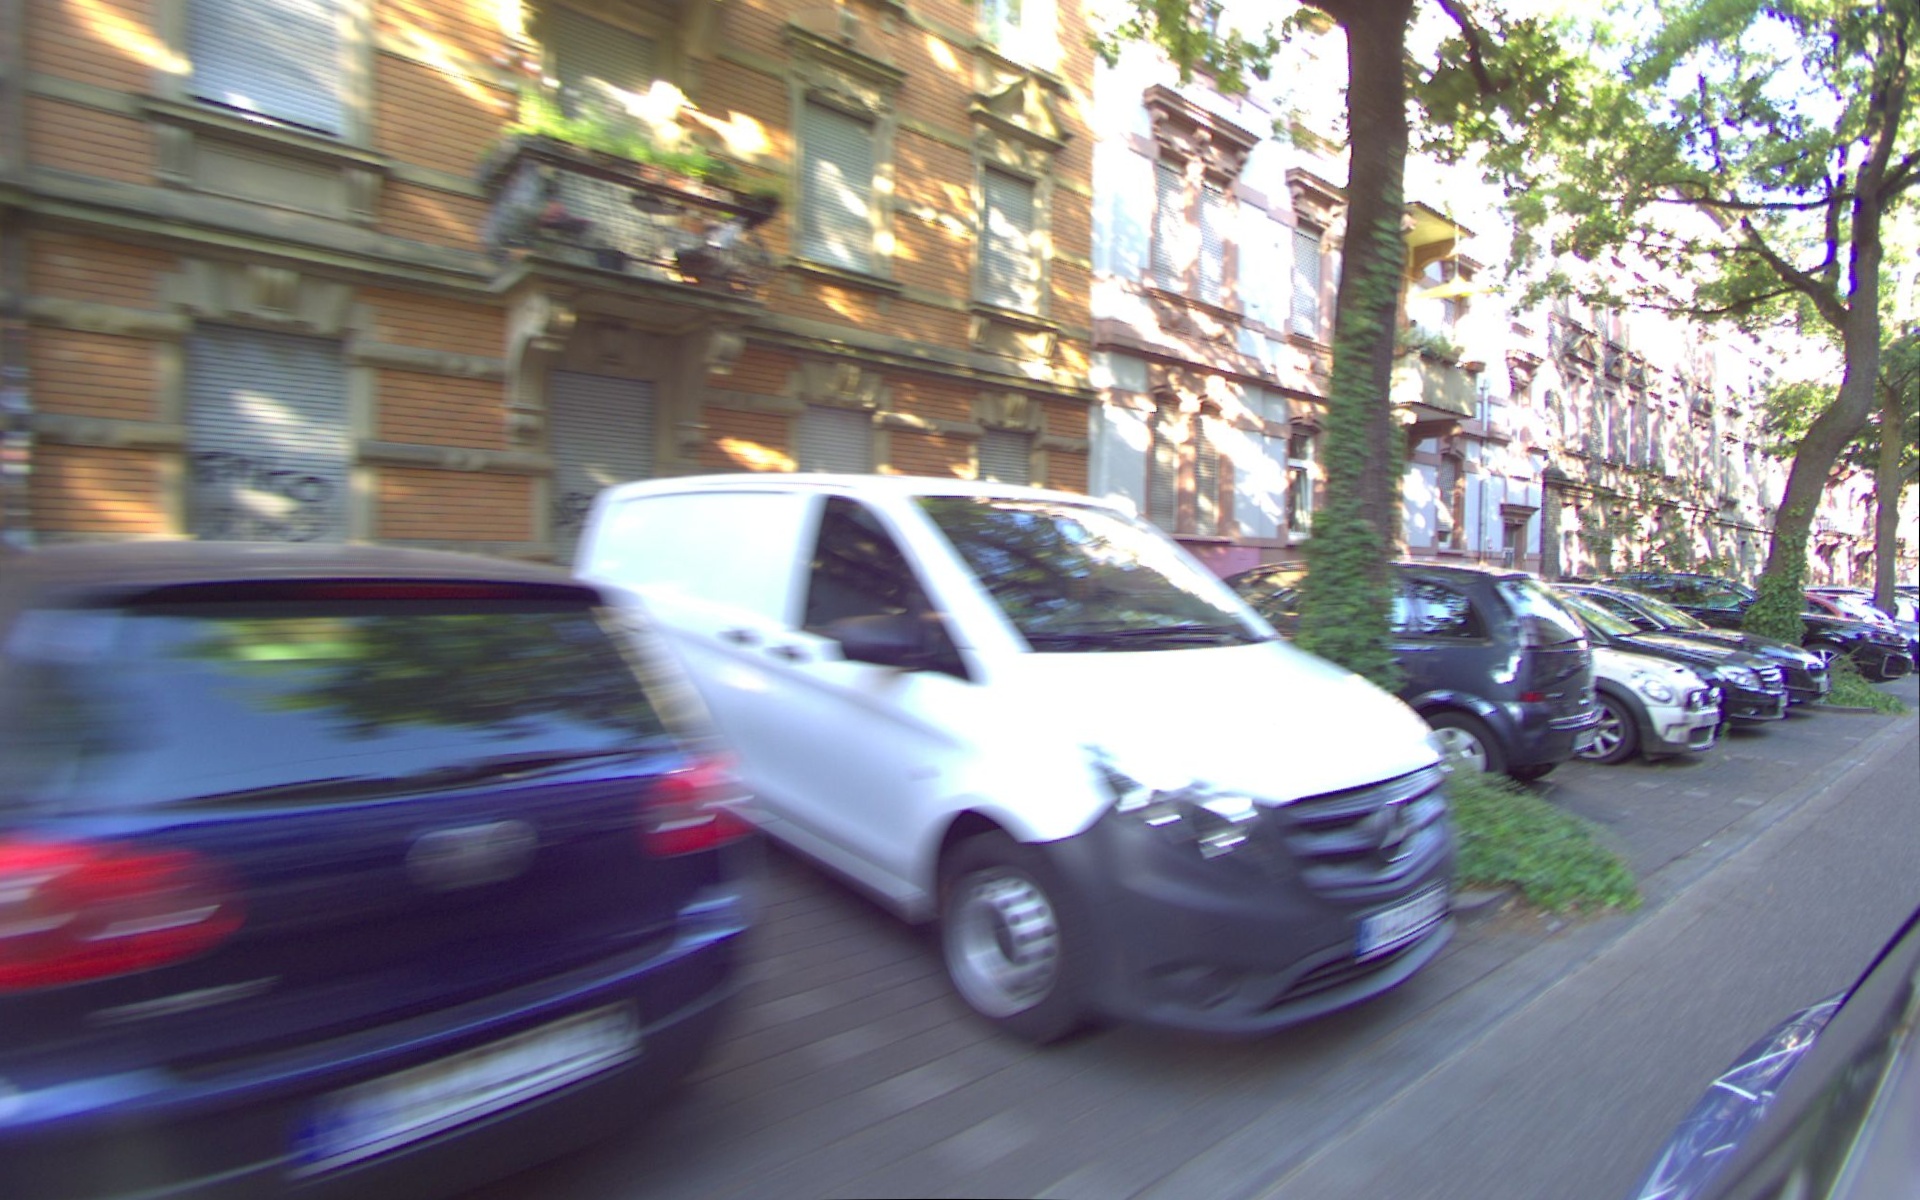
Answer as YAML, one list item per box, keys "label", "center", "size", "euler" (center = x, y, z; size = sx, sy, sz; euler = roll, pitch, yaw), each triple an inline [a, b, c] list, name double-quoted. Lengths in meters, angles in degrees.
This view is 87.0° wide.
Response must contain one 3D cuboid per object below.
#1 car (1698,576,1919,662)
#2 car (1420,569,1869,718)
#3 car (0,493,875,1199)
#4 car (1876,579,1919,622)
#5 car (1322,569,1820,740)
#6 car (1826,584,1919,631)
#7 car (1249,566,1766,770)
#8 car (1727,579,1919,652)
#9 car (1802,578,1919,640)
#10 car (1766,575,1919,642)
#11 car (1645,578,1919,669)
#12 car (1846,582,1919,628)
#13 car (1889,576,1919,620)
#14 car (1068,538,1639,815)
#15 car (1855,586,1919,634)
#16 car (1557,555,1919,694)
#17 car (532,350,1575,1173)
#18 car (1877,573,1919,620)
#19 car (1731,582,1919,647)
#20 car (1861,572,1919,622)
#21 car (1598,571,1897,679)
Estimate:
- label: "car"
  center: [18.167, 0.344, 21.256]
  size: [1.649, 1.404, 3.997]
  euler: [0, 5, -41]
- label: "car"
  center: [8.870, 0.426, 13.491]
  size: [1.964, 1.548, 4.564]
  euler: [0, 2, -39]
- label: "car"
  center: [-2.283, 0.477, 3.151]
  size: [3.986, 1.492, 1.755]
  euler: [5, 4, 42]
- label: "car"
  center: [39.901, 0.162, 40.274]
  size: [2.044, 1.651, 4.927]
  euler: [0, 5, -44]
- label: "car"
  center: [6.933, 0.460, 11.959]
  size: [1.898, 1.521, 4.669]
  euler: [0, 2, -41]
- label: "car"
  center: [32.367, 0.251, 34.641]
  size: [1.659, 1.513, 3.992]
  euler: [0, 2, -43]
- label: "car"
  center: [5.155, 0.470, 10.017]
  size: [1.779, 1.521, 4.115]
  euler: [0, 2, -40]
- label: "car"
  center: [21.225, 0.334, 24.307]
  size: [1.771, 1.555, 4.227]
  euler: [0, 2, -43]
- label: "car"
  center: [27.460, 0.253, 29.290]
  size: [1.858, 1.676, 4.487]
  euler: [-2, 3, -39]
- label: "car"
  center: [25.163, 0.191, 27.788]
  size: [1.859, 1.676, 4.483]
  euler: [-2, 3, -42]
- label: "car"
  center: [15.953, 0.379, 19.749]
  size: [1.753, 1.480, 3.991]
  euler: [0, 3, -44]
- label: "car"
  center: [34.439, 0.234, 35.980]
  size: [1.903, 1.472, 4.153]
  euler: [0, 4, -42]
- label: "car"
  center: [44.808, 0.028, 45.036]
  size: [4.636, 1.913, 1.890]
  euler: [4, 2, 28]
- label: "car"
  center: [2.903, 0.374, 8.088]
  size: [1.696, 1.669, 3.889]
  euler: [0, 2, -43]
- label: "car"
  center: [31.195, 0.338, 32.101]
  size: [1.657, 1.474, 3.996]
  euler: [0, 2, -40]
- label: "car"
  center: [12.356, 0.273, 15.982]
  size: [1.851, 1.723, 4.651]
  euler: [0, 4, -44]
- label: "car"
  center: [-0.163, 0.232, 5.027]
  size: [2.122, 1.962, 5.103]
  euler: [-5, 5, -40]
- label: "car"
  center: [42.067, -0.015, 42.577]
  size: [2.140, 1.924, 4.927]
  euler: [0, 5, -44]
- label: "car"
  center: [22.887, 0.337, 26.395]
  size: [1.769, 1.488, 4.110]
  euler: [0, 2, -39]
- label: "car"
  center: [36.534, -0.081, 37.726]
  size: [1.910, 1.810, 4.136]
  euler: [0, 2, -39]
- label: "car"
  center: [13.984, 0.352, 18.127]
  size: [1.753, 1.609, 3.991]
  euler: [0, 3, -44]
